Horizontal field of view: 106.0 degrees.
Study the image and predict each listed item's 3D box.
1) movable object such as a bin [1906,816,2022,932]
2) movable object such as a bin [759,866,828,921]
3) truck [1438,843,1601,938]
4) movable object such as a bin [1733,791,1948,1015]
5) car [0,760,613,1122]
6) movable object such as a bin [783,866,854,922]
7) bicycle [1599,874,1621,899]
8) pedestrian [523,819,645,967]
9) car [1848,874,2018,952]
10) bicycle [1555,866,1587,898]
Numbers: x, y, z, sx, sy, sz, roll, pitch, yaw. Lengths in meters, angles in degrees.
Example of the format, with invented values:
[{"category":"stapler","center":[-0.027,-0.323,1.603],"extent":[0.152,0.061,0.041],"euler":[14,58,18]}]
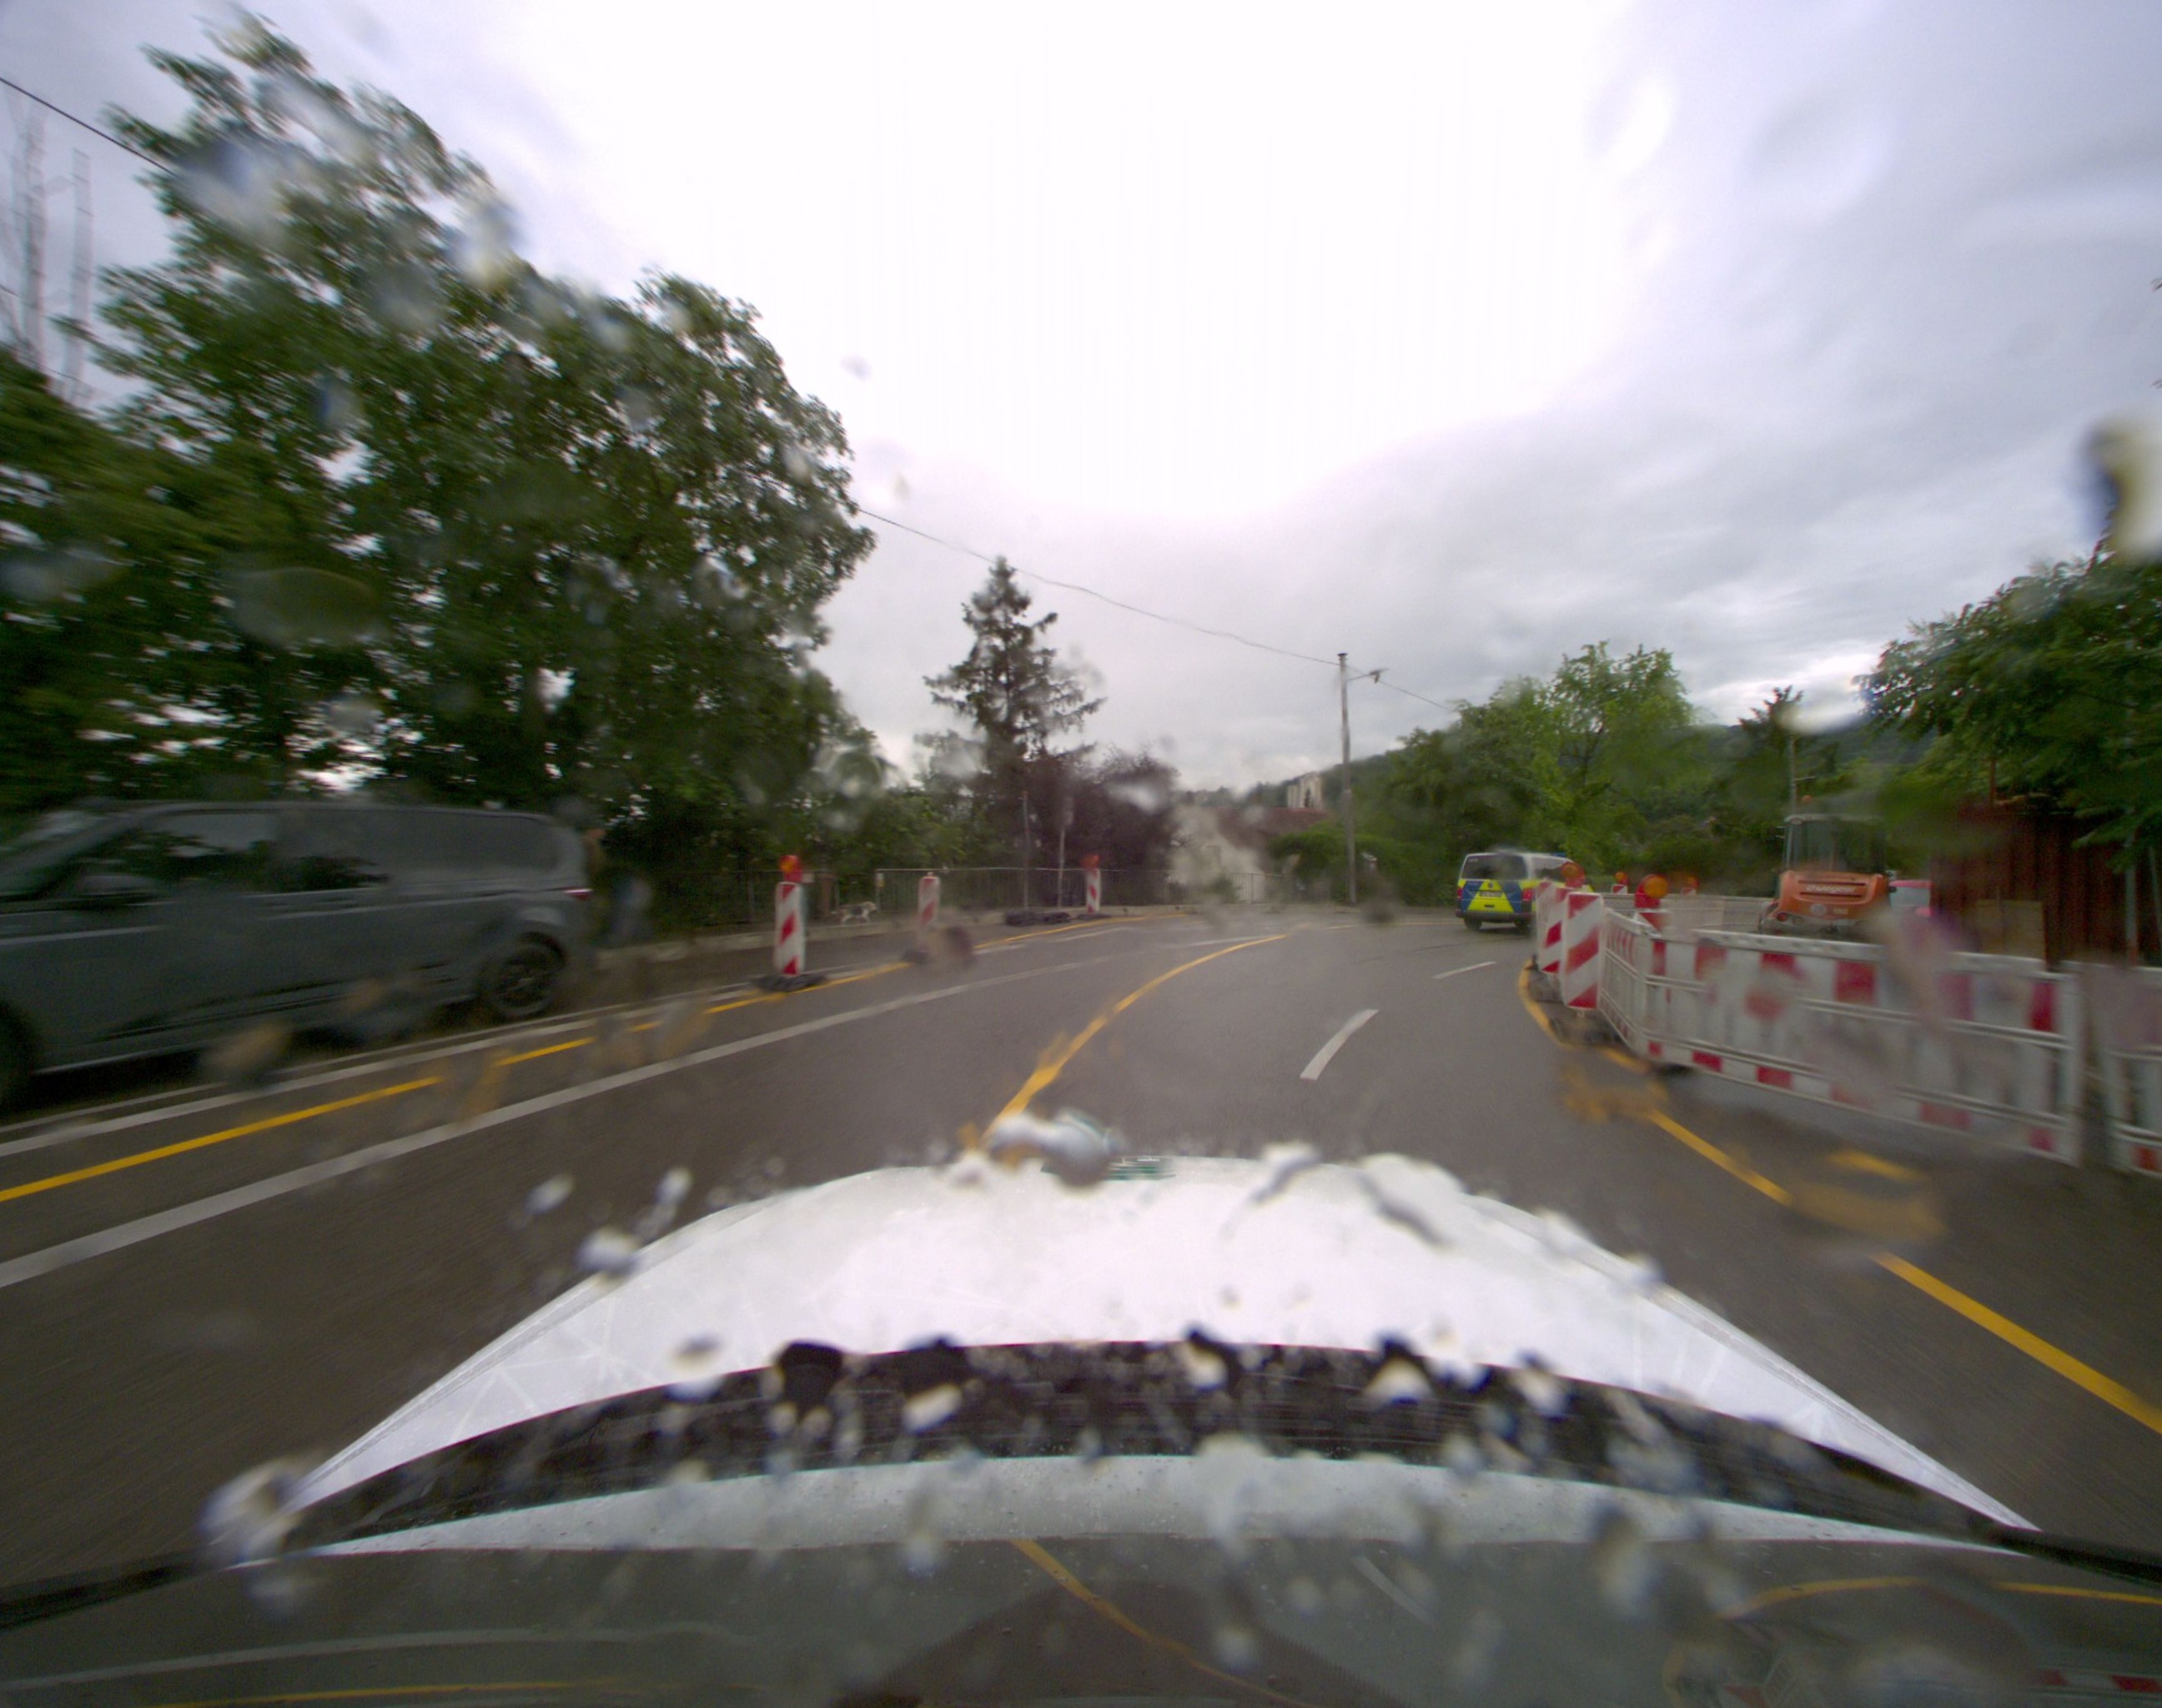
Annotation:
[{"category":"movable object such as a bin","center":[27.931,0.677,25.738],"extent":[3.850,3.306,1.979],"euler":[5,-3,-34]},{"category":"movable object such as a bin","center":[-6.200,0.830,17.577],"extent":[0.976,1.106,1.034],"euler":[-2,0,40]},{"category":"truck","center":[11.239,0.843,20.723],"extent":[4.760,2.013,1.976],"euler":[-3,0,-40]},{"category":"movable object such as a bin","center":[13.671,0.596,14.541],"extent":[5.311,3.226,2.059],"euler":[-5,4,-39]},{"category":"car","center":[-6.454,0.479,6.019],"extent":[1.976,2.013,4.976],"euler":[0,0,23]},{"category":"movable object such as a bin","center":[-5.440,0.802,16.865],"extent":[0.976,1.106,1.034],"euler":[-2,-1,40]},{"category":"bicycle","center":[24.587,1.510,37.844],"extent":[1.260,1.107,0.336],"euler":[4,-2,-31]},{"category":"pedestrian","center":[-6.348,0.475,10.425],"extent":[0.914,1.768,0.986],"euler":[0,-1,30]},{"category":"car","center":[22.270,1.480,21.250],"extent":[5.012,1.779,1.981],"euler":[2,-1,-31]},{"category":"bicycle","center":[21.792,1.234,36.219],"extent":[1.748,1.349,0.418],"euler":[4,-2,-31]}]
